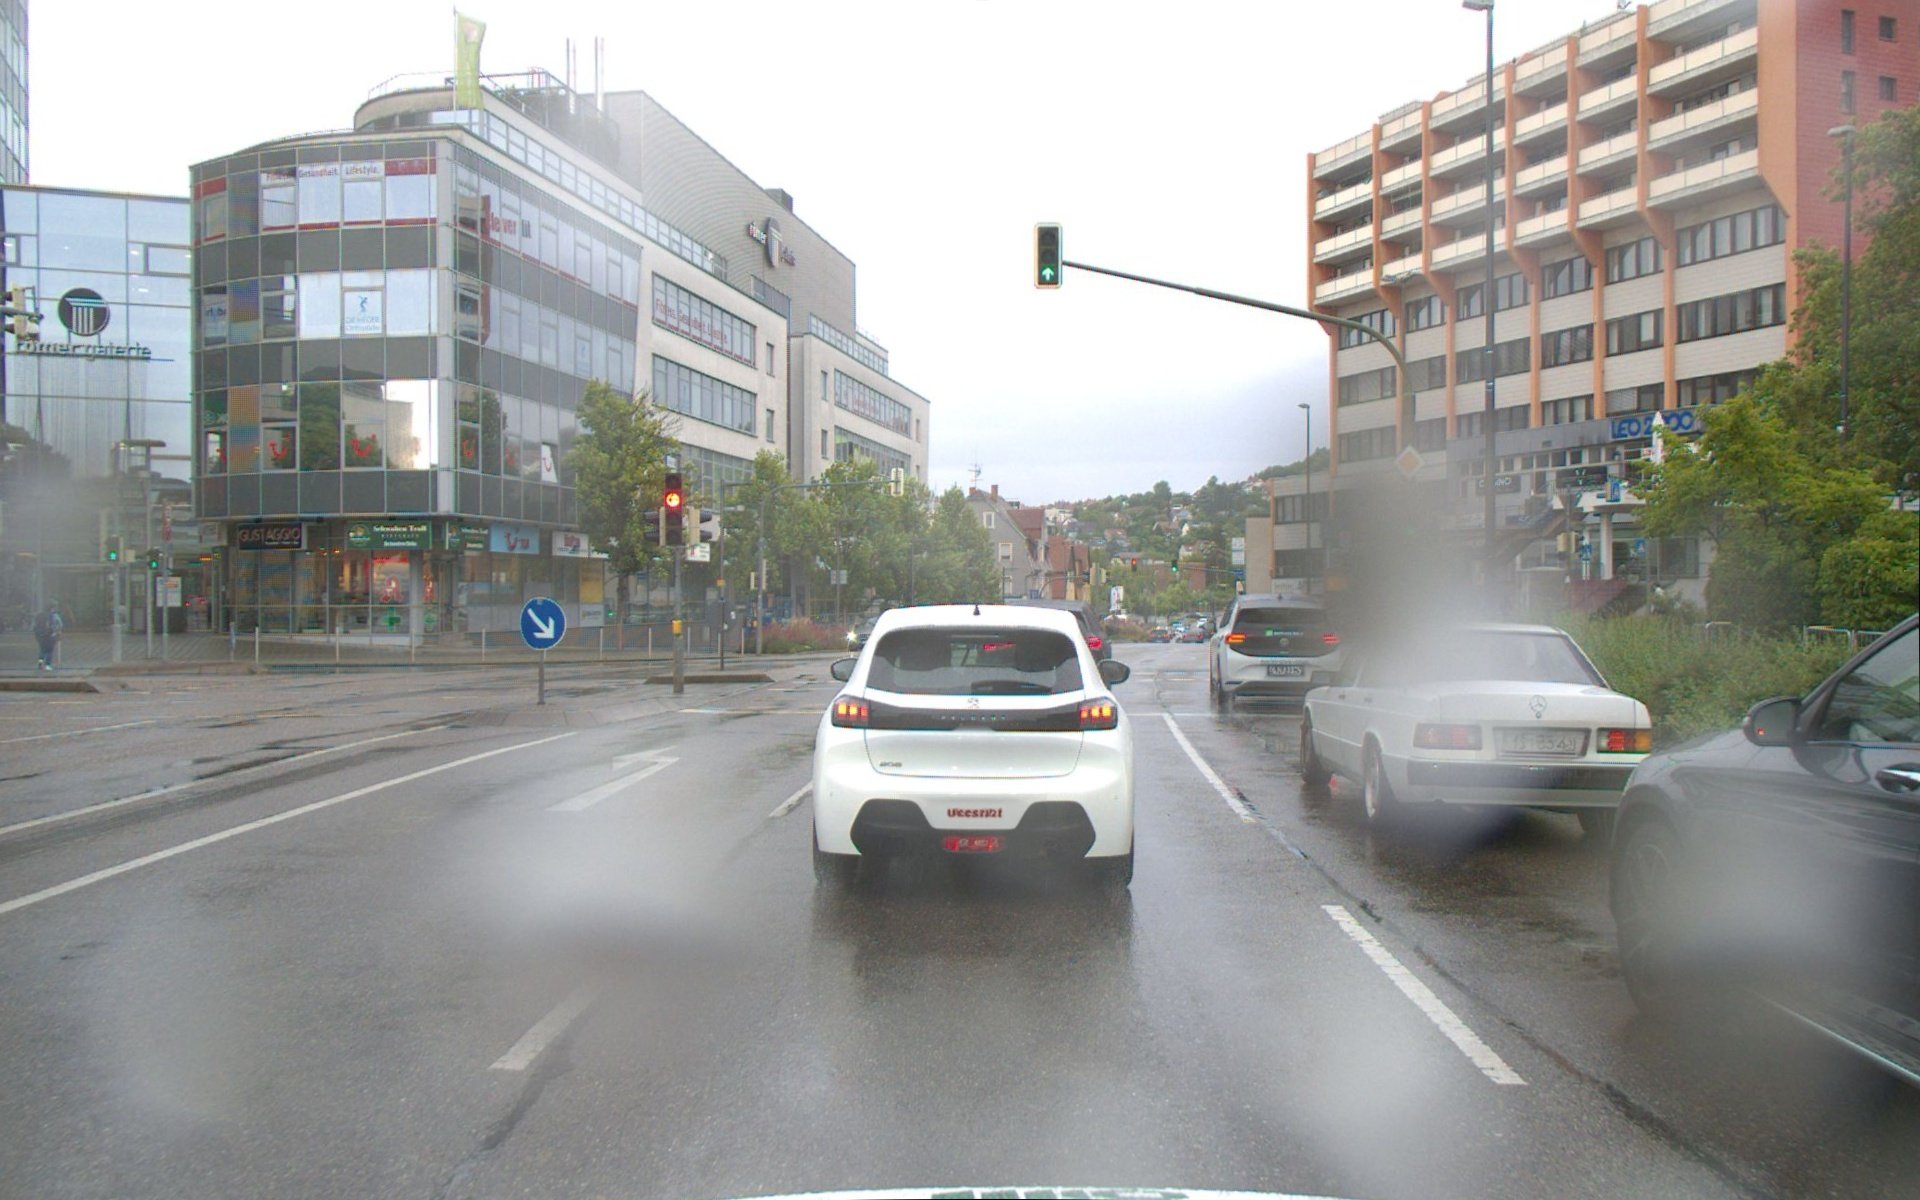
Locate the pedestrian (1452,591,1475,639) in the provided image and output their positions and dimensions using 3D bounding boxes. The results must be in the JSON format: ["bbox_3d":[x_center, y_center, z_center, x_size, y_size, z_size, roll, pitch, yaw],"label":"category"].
[{"bbox_3d":[17.725,0.513,58.268,0.693,1.635,0.656,3,1,15],"label":"pedestrian"}]

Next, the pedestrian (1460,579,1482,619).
[{"bbox_3d":[18.041,-0.038,58.390,0.692,1.369,0.656,-1,-1,13],"label":"pedestrian"}]

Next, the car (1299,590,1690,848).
[{"bbox_3d":[3.579,0.722,11.859,1.600,1.474,4.270,1,-1,3],"label":"car"}]

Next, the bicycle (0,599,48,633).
[{"bbox_3d":[-34.997,0.593,61.042,2.242,1.268,0.672,0,0,-22],"label":"bicycle"}]

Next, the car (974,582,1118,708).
[{"bbox_3d":[1.245,0.565,22.481,1.777,1.556,3.815,0,0,6],"label":"car"}]

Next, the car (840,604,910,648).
[{"bbox_3d":[-3.378,1.025,66.720,1.879,1.660,4.907,1,0,8],"label":"car"}]

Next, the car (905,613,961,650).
[{"bbox_3d":[-1.258,1.506,80.125,1.736,1.621,4.591,-4,-1,10],"label":"car"}]

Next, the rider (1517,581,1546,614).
[{"bbox_3d":[23.498,-0.115,68.009,0.902,1.307,1.091,-3,0,9],"label":"rider"}]

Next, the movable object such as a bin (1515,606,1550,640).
[{"bbox_3d":[23.544,0.938,68.054,1.106,1.355,1.455,0,-1,10],"label":"movable object such as a bin"}]

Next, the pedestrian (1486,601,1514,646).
[{"bbox_3d":[20.533,0.883,62.866,0.777,1.698,0.931,0,0,3],"label":"pedestrian"}]

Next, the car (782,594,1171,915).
[{"bbox_3d":[0.213,0.727,9.792,1.832,1.487,3.875,1,0,4],"label":"car"}]

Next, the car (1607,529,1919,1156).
[{"bbox_3d":[3.462,0.647,4.338,1.862,1.649,4.335,1,0,1],"label":"car"}]

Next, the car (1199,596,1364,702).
[{"bbox_3d":[4.550,0.669,23.886,1.871,1.425,3.459,0,0,3],"label":"car"}]

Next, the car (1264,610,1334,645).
[{"bbox_3d":[22.740,1.844,111.119,1.969,2.265,4.934,-1,-1,-26],"label":"car"}]

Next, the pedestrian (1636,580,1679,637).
[{"bbox_3d":[21.259,0.264,50.420,0.811,1.720,1.128,0,0,-2],"label":"pedestrian"}]

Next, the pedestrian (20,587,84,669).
[{"bbox_3d":[-20.903,0.641,38.098,0.827,1.851,1.025,-1,0,11],"label":"pedestrian"}]
